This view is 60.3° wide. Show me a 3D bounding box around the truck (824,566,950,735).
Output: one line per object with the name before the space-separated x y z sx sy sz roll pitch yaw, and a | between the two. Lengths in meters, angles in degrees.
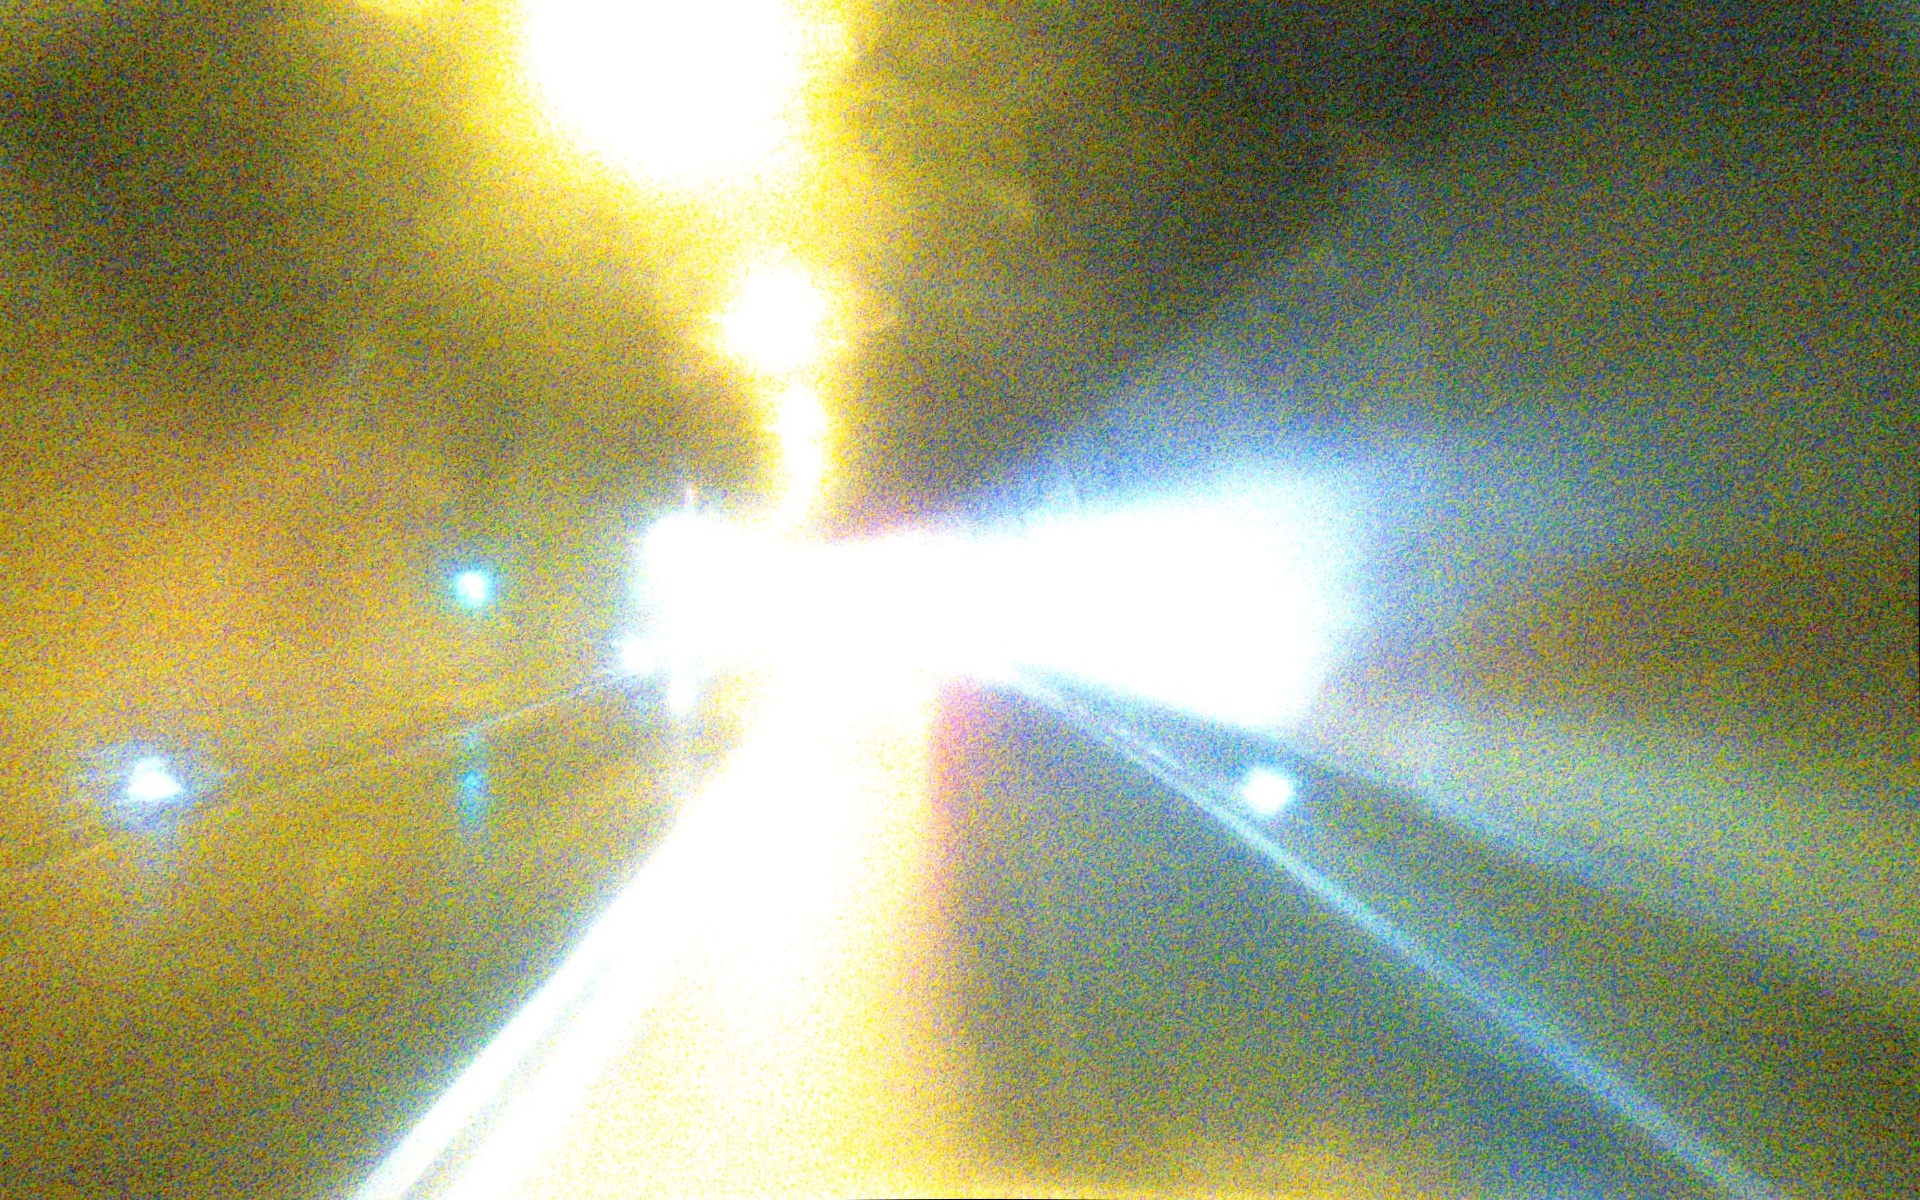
truck | -1.550 0.941 34.409 2.217 3.063 7.410 2 0 -3
